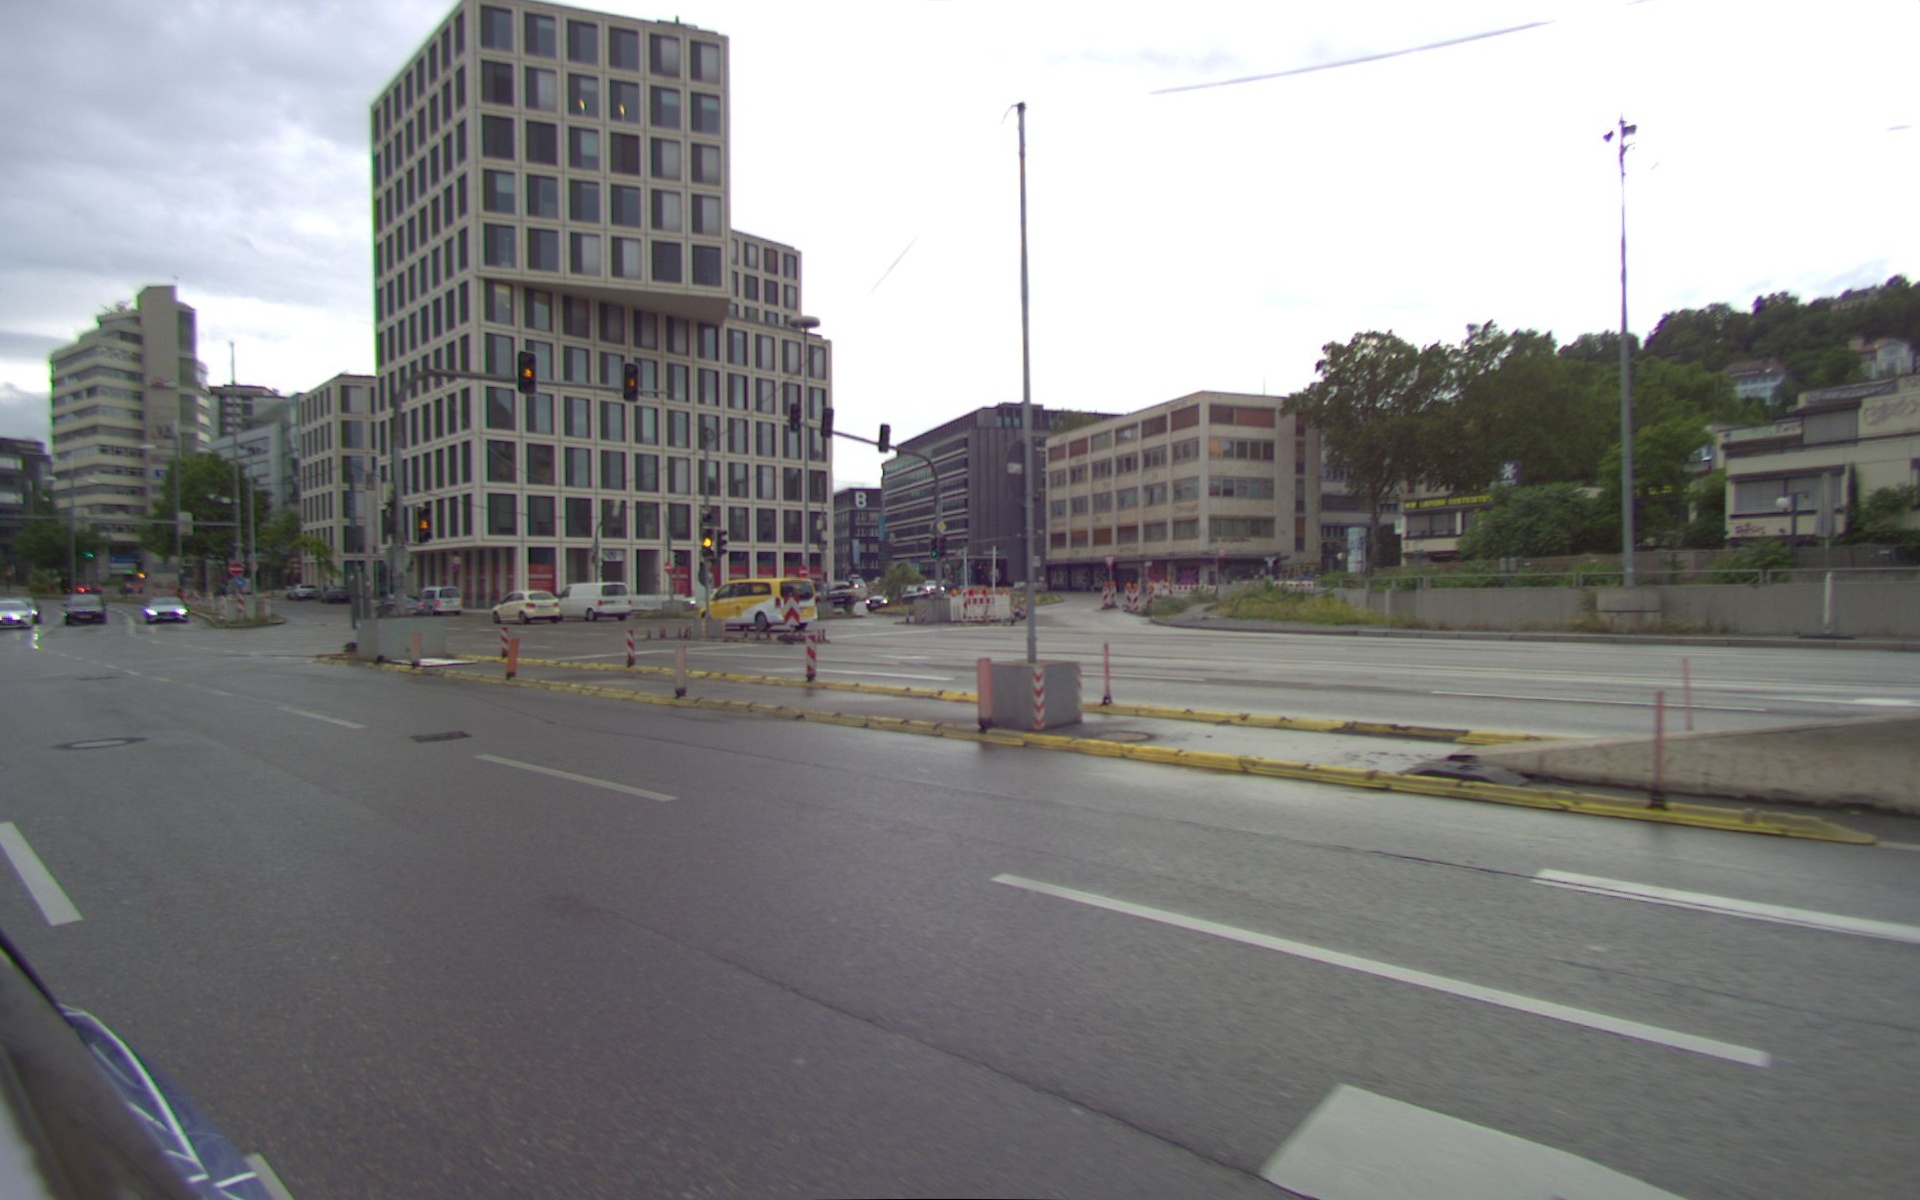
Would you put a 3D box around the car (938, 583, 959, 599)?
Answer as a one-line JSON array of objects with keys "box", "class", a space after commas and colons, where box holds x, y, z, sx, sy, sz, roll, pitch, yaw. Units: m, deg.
[{"box": [-1.539, -1.143, 133.043, 1.967, 2.029, 4.011, -1, 0, -13], "class": "car"}]

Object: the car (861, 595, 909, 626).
[{"box": [-4.295, 0.573, 58.209, 1.679, 1.710, 3.984, -1, 0, 12], "class": "car"}]

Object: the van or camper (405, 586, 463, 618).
[{"box": [-33.800, 0.125, 65.050, 4.253, 1.993, 1.826, 0, 1, 41], "class": "van or camper"}]

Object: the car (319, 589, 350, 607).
[{"box": [-55.800, -0.182, 90.266, 1.838, 1.534, 4.007, -2, 1, -39], "class": "car"}]

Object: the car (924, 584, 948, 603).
[{"box": [-2.350, -0.639, 100.235, 1.835, 1.729, 4.122, -1, 2, 7], "class": "car"}]

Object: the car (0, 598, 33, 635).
[{"box": [-48.517, 0.816, 51.391, 1.988, 1.751, 4.667, -2, 2, -44], "class": "car"}]

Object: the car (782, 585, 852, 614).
[{"box": [-8.128, -0.045, 57.892, 1.831, 1.497, 3.955, -1, 1, 33], "class": "car"}]

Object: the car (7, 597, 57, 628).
[{"box": [-53.028, 0.689, 57.821, 1.988, 1.610, 4.667, -2, 2, -44], "class": "car"}]

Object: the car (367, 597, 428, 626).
[{"box": [-33.613, 0.690, 60.411, 4.178, 1.610, 1.826, 0, 1, 41], "class": "car"}]

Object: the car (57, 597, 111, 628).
[{"box": [-48.155, 0.654, 55.591, 1.988, 1.610, 4.667, -2, 2, -44], "class": "car"}]

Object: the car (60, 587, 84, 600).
[{"box": [-116.053, -0.883, 132.262, 4.178, 1.610, 1.826, 0, 1, 41], "class": "car"}]

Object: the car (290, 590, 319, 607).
[{"box": [-64.044, -0.121, 98.879, 1.838, 1.534, 4.006, -2, 1, -41], "class": "car"}]

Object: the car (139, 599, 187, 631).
[{"box": [-44.355, 0.806, 56.314, 1.986, 1.610, 4.672, -2, 1, -39], "class": "car"}]

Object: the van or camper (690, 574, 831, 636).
[{"box": [-7.323, 0.158, 36.797, 5.609, 2.070, 2.214, 0, 2, 44], "class": "van or camper"}]

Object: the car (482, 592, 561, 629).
[{"box": [-21.448, 0.479, 49.409, 4.379, 1.686, 1.823, 0, 1, 42], "class": "car"}]

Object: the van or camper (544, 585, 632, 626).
[{"box": [-18.940, 0.266, 51.412, 5.210, 1.908, 1.862, 0, 1, 41], "class": "van or camper"}]

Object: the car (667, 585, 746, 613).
[{"box": [-16.990, -0.092, 67.955, 2.228, 1.766, 4.747, -1, 1, 41], "class": "car"}]
